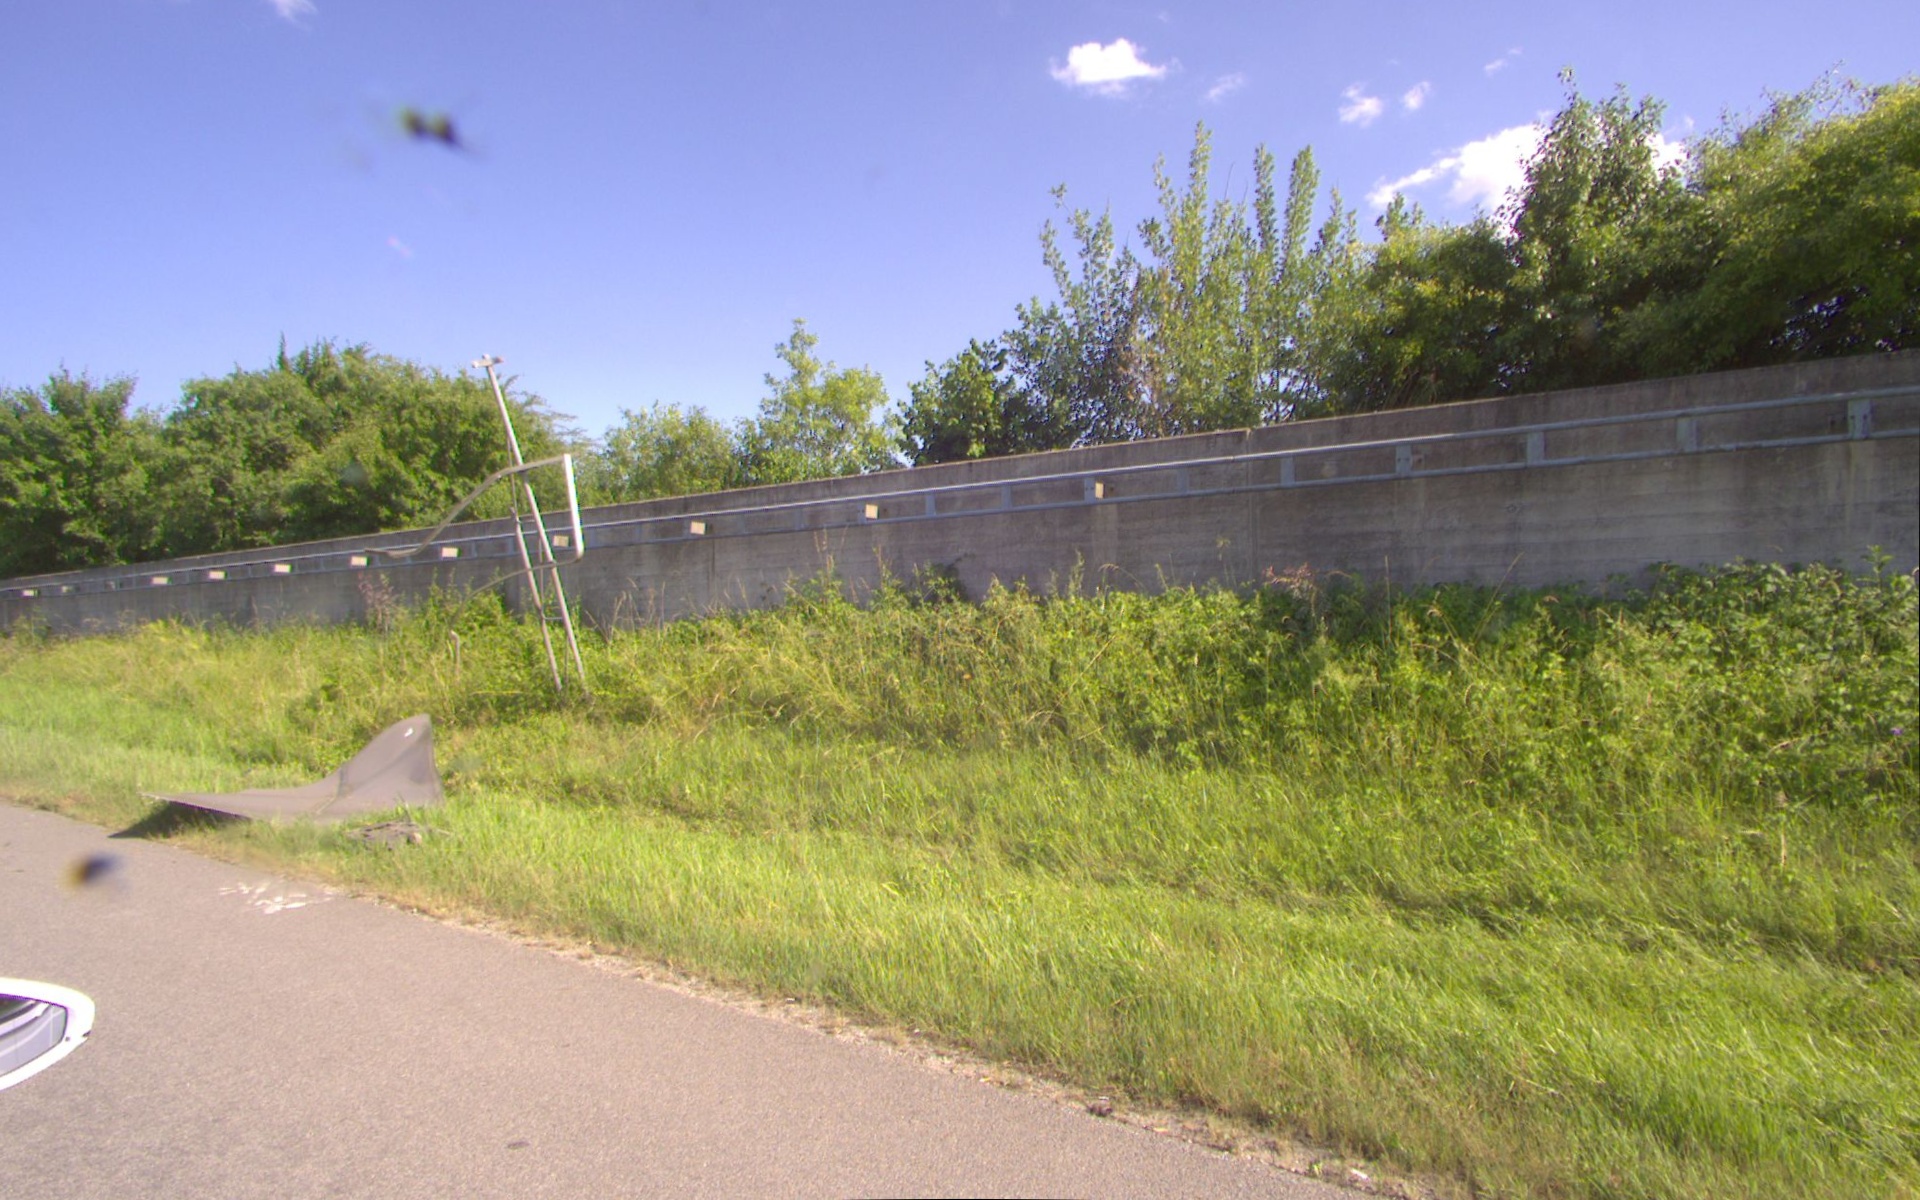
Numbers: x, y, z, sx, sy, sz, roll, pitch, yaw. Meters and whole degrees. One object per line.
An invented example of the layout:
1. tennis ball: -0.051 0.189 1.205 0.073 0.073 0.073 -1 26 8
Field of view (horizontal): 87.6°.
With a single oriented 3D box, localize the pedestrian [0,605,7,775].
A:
1. pedestrian: -10.118 0.896 9.470 0.943 1.675 1.276 -1 0 15
